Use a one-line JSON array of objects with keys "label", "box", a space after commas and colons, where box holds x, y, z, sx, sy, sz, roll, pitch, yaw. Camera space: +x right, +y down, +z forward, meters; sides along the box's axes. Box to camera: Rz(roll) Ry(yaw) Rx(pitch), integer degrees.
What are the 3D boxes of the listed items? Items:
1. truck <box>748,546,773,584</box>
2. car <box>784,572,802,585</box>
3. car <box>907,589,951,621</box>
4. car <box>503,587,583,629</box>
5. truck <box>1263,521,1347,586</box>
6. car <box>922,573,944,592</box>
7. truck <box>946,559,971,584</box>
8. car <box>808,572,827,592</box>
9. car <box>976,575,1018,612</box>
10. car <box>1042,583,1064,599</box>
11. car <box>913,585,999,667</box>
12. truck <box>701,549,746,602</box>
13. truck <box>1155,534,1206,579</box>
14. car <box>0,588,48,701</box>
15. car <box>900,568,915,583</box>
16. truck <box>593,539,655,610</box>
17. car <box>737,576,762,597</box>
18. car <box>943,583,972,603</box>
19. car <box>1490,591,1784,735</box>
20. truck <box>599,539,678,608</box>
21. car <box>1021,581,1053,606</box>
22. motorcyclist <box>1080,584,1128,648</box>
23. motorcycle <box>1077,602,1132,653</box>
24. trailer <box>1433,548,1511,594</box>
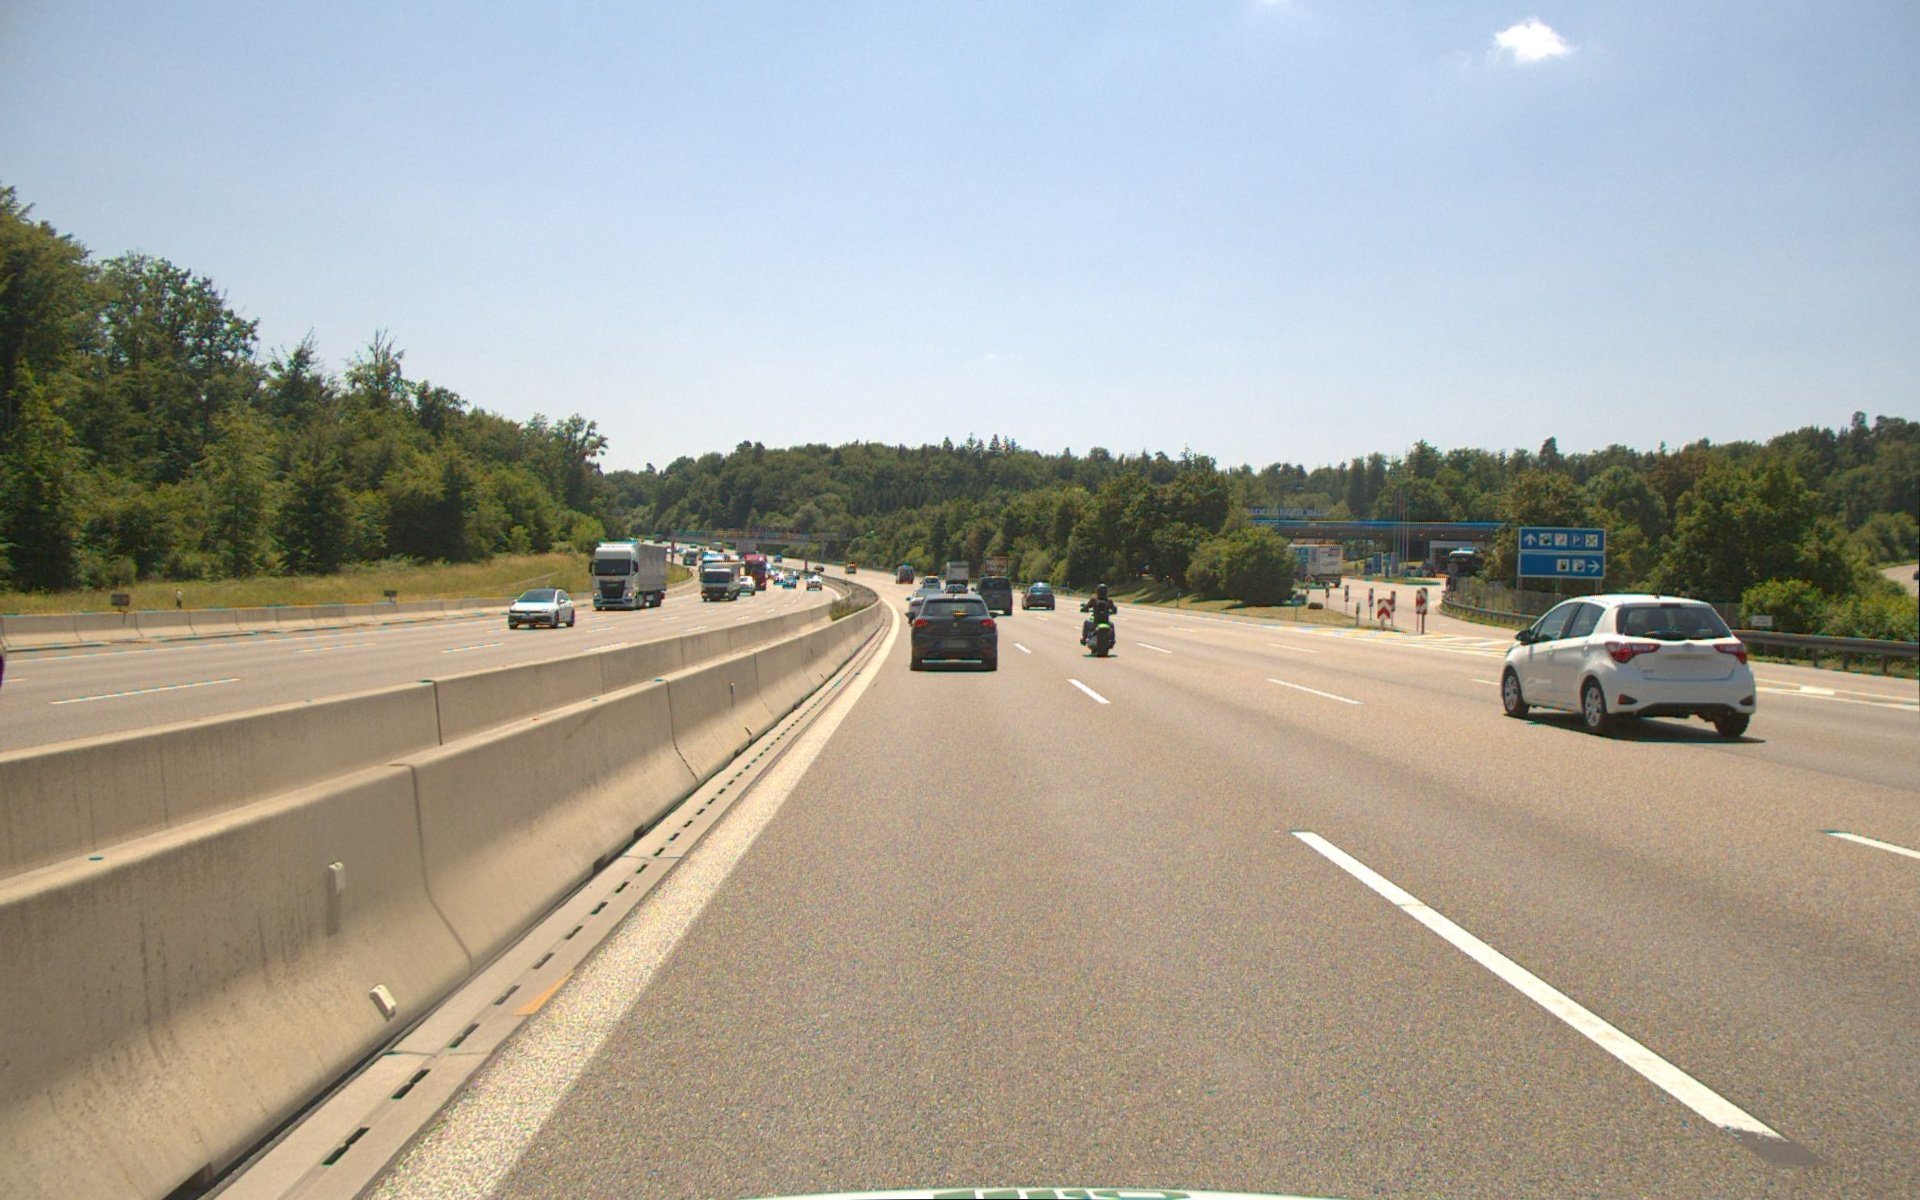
[{"label": "truck", "box": [-23.222, -4.087, 192.729, 2.451, 4.427, 6.602, 0, 1, -3]}, {"label": "car", "box": [-21.111, -2.688, 208.855, 1.953, 1.575, 4.879, 0, 1, -3]}, {"label": "car", "box": [-1.332, 0.193, 70.043, 1.747, 1.287, 3.458, 0, 0, -3]}, {"label": "car", "box": [-15.879, 0.276, 63.205, 1.834, 1.506, 4.812, 1, 0, -1]}, {"label": "truck", "box": [35.423, -4.621, 170.755, 5.396, 6.375, 15.429, 0, 0, -1]}, {"label": "car", "box": [-2.753, -1.750, 165.520, 1.954, 1.713, 4.421, 3, 1, -3]}, {"label": "truck", "box": [-0.189, -3.569, 205.938, 2.672, 2.834, 5.680, 3, 1, -3]}, {"label": "car", "box": [-16.772, -2.113, 194.961, 1.953, 2.328, 5.762, 0, 1, -3]}, {"label": "car", "box": [1.928, -0.356, 86.998, 2.054, 1.884, 4.080, 0, 0, -1]}, {"label": "car", "box": [7.456, -0.694, 132.960, 1.576, 1.233, 3.459, 0, 0, -1]}, {"label": "car", "box": [-0.040, 0.502, 32.690, 1.591, 1.513, 3.685, 0, -1, 1]}, {"label": "truck", "box": [-19.326, -1.991, 135.410, 2.480, 4.250, 9.617, 0, 1, -1]}, {"label": "truck", "box": [25.002, -4.837, 188.256, 3.260, 4.913, 14.692, 0, 1, -2]}, {"label": "car", "box": [-14.122, 0.615, 21.584, 1.834, 1.561, 4.812, 0, 0, -1]}, {"label": "car", "box": [-7.526, -3.565, 237.928, 1.954, 2.048, 4.672, 3, 1, -3]}, {"label": "truck", "box": [-20.605, -1.549, 101.697, 2.628, 4.250, 6.230, 0, 0, -1]}, {"label": "car", "box": [-20.595, -1.303, 161.722, 1.953, 2.004, 5.735, 0, 1, -3]}, {"label": "car", "box": [-0.179, -0.536, 118.487, 1.805, 1.243, 4.222, 3, 1, -3]}, {"label": "car", "box": [7.621, 0.633, 19.101, 1.632, 1.458, 4.375, 0, 0, 0]}, {"label": "truck", "box": [-20.925, -1.704, 108.529, 2.702, 4.250, 14.505, 0, 1, -2]}, {"label": "car", "box": [4.704, -0.377, 100.804, 1.641, 1.456, 3.684, 2, 0, -2]}, {"label": "motorcyclist", "box": [3.333, 0.357, 38.336, 0.943, 1.462, 1.234, 0, 1, -3]}, {"label": "motorcycle", "box": [3.335, 0.623, 38.438, 0.958, 1.149, 2.269, 0, 0, -3]}, {"label": "trailer", "box": [44.186, -2.574, 142.290, 3.102, 3.700, 13.588, 0, 2, 32]}]
